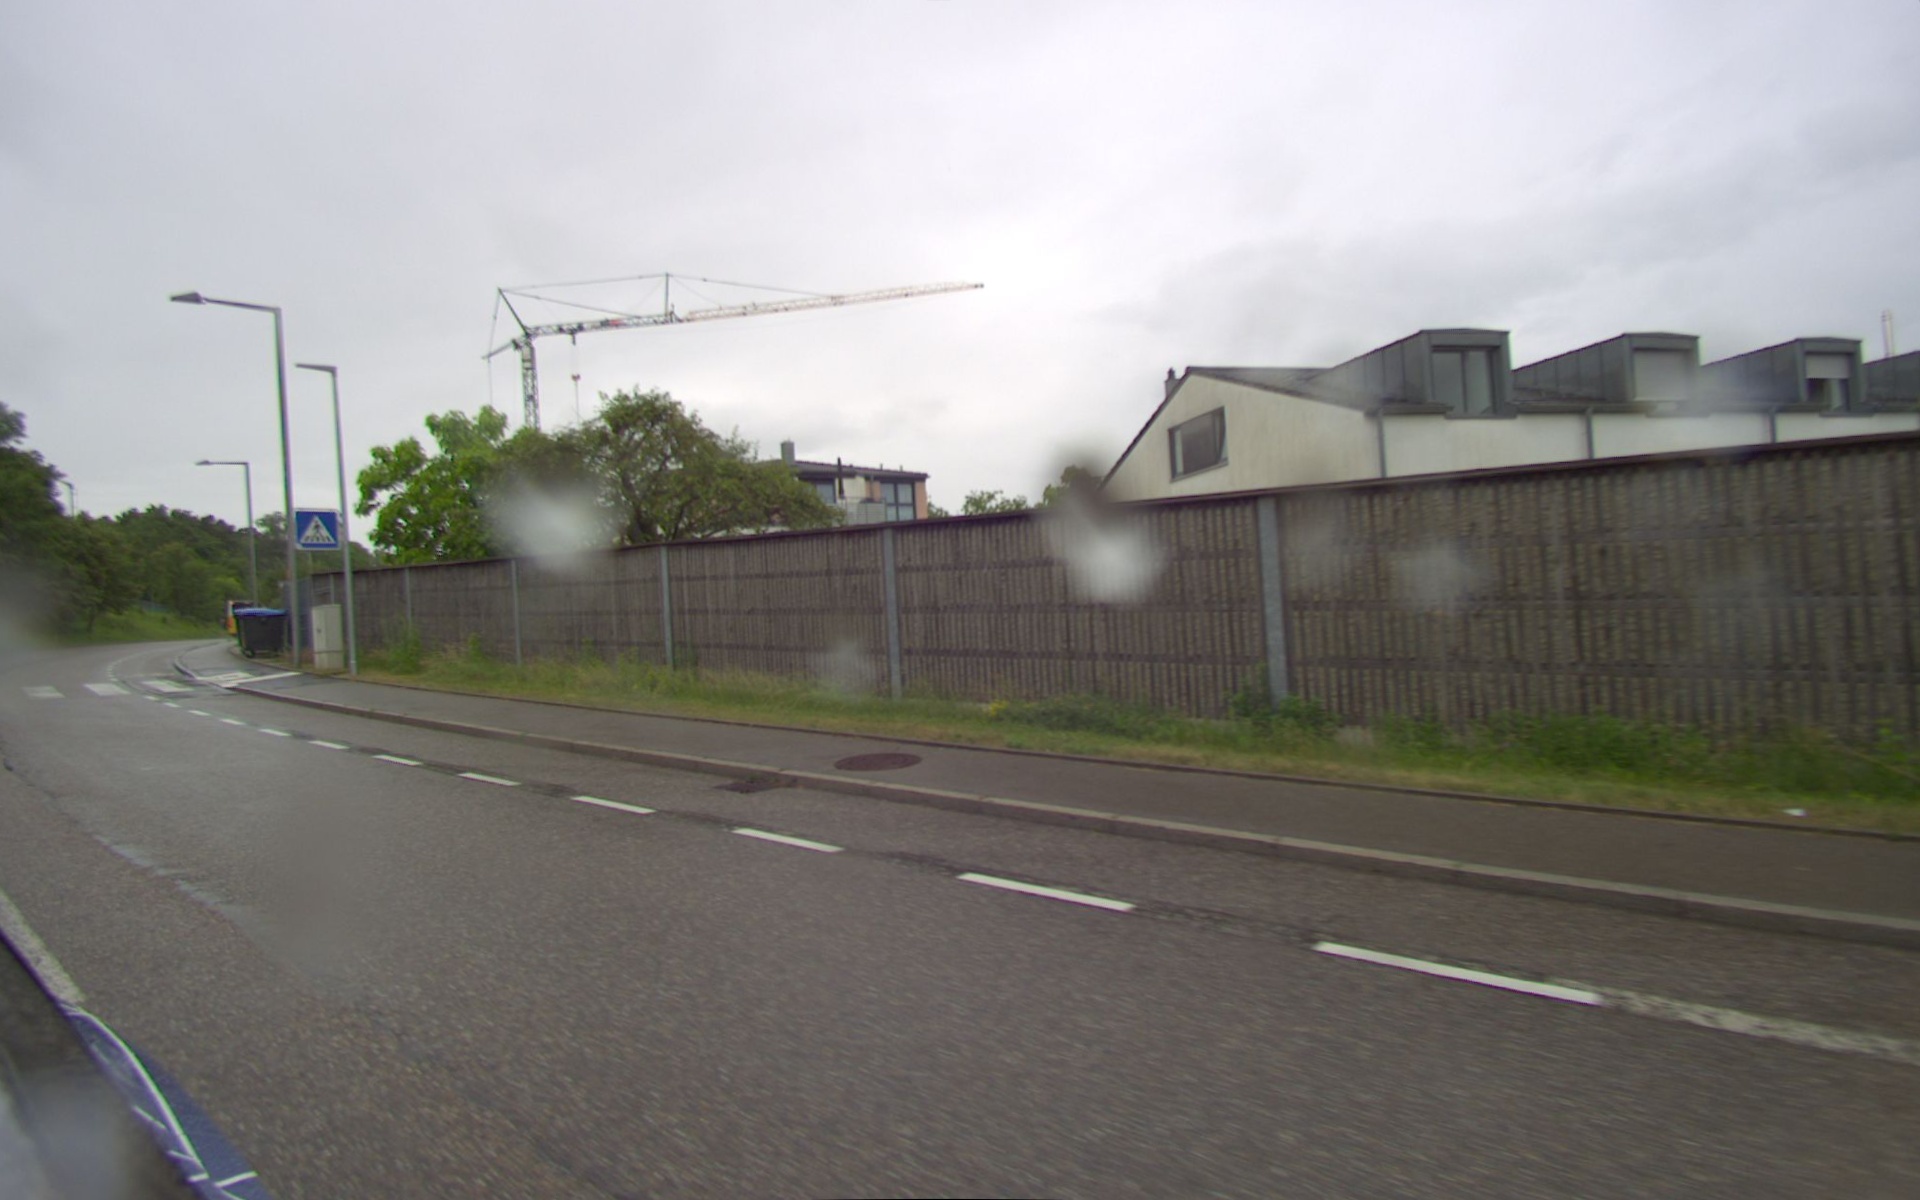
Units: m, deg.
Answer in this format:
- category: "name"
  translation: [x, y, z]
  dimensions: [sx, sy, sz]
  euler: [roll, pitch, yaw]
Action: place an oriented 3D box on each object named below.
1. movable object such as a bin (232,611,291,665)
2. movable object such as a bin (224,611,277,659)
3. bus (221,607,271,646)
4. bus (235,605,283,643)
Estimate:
- category: "movable object such as a bin"
  translation: [-19.445, 1.047, 28.168]
  dimensions: [1.118, 1.331, 1.364]
  euler: [-7, 3, -40]
- category: "movable object such as a bin"
  translation: [-21.642, 1.061, 30.867]
  dimensions: [1.117, 1.349, 1.401]
  euler: [-6, 2, -40]
- category: "bus"
  translation: [-60.632, 2.181, 86.127]
  dimensions: [2.603, 3.055, 7.689]
  euler: [-2, 0, -29]
- category: "bus"
  translation: [-65.165, 2.156, 94.216]
  dimensions: [2.603, 3.090, 10.889]
  euler: [-2, 1, -29]
